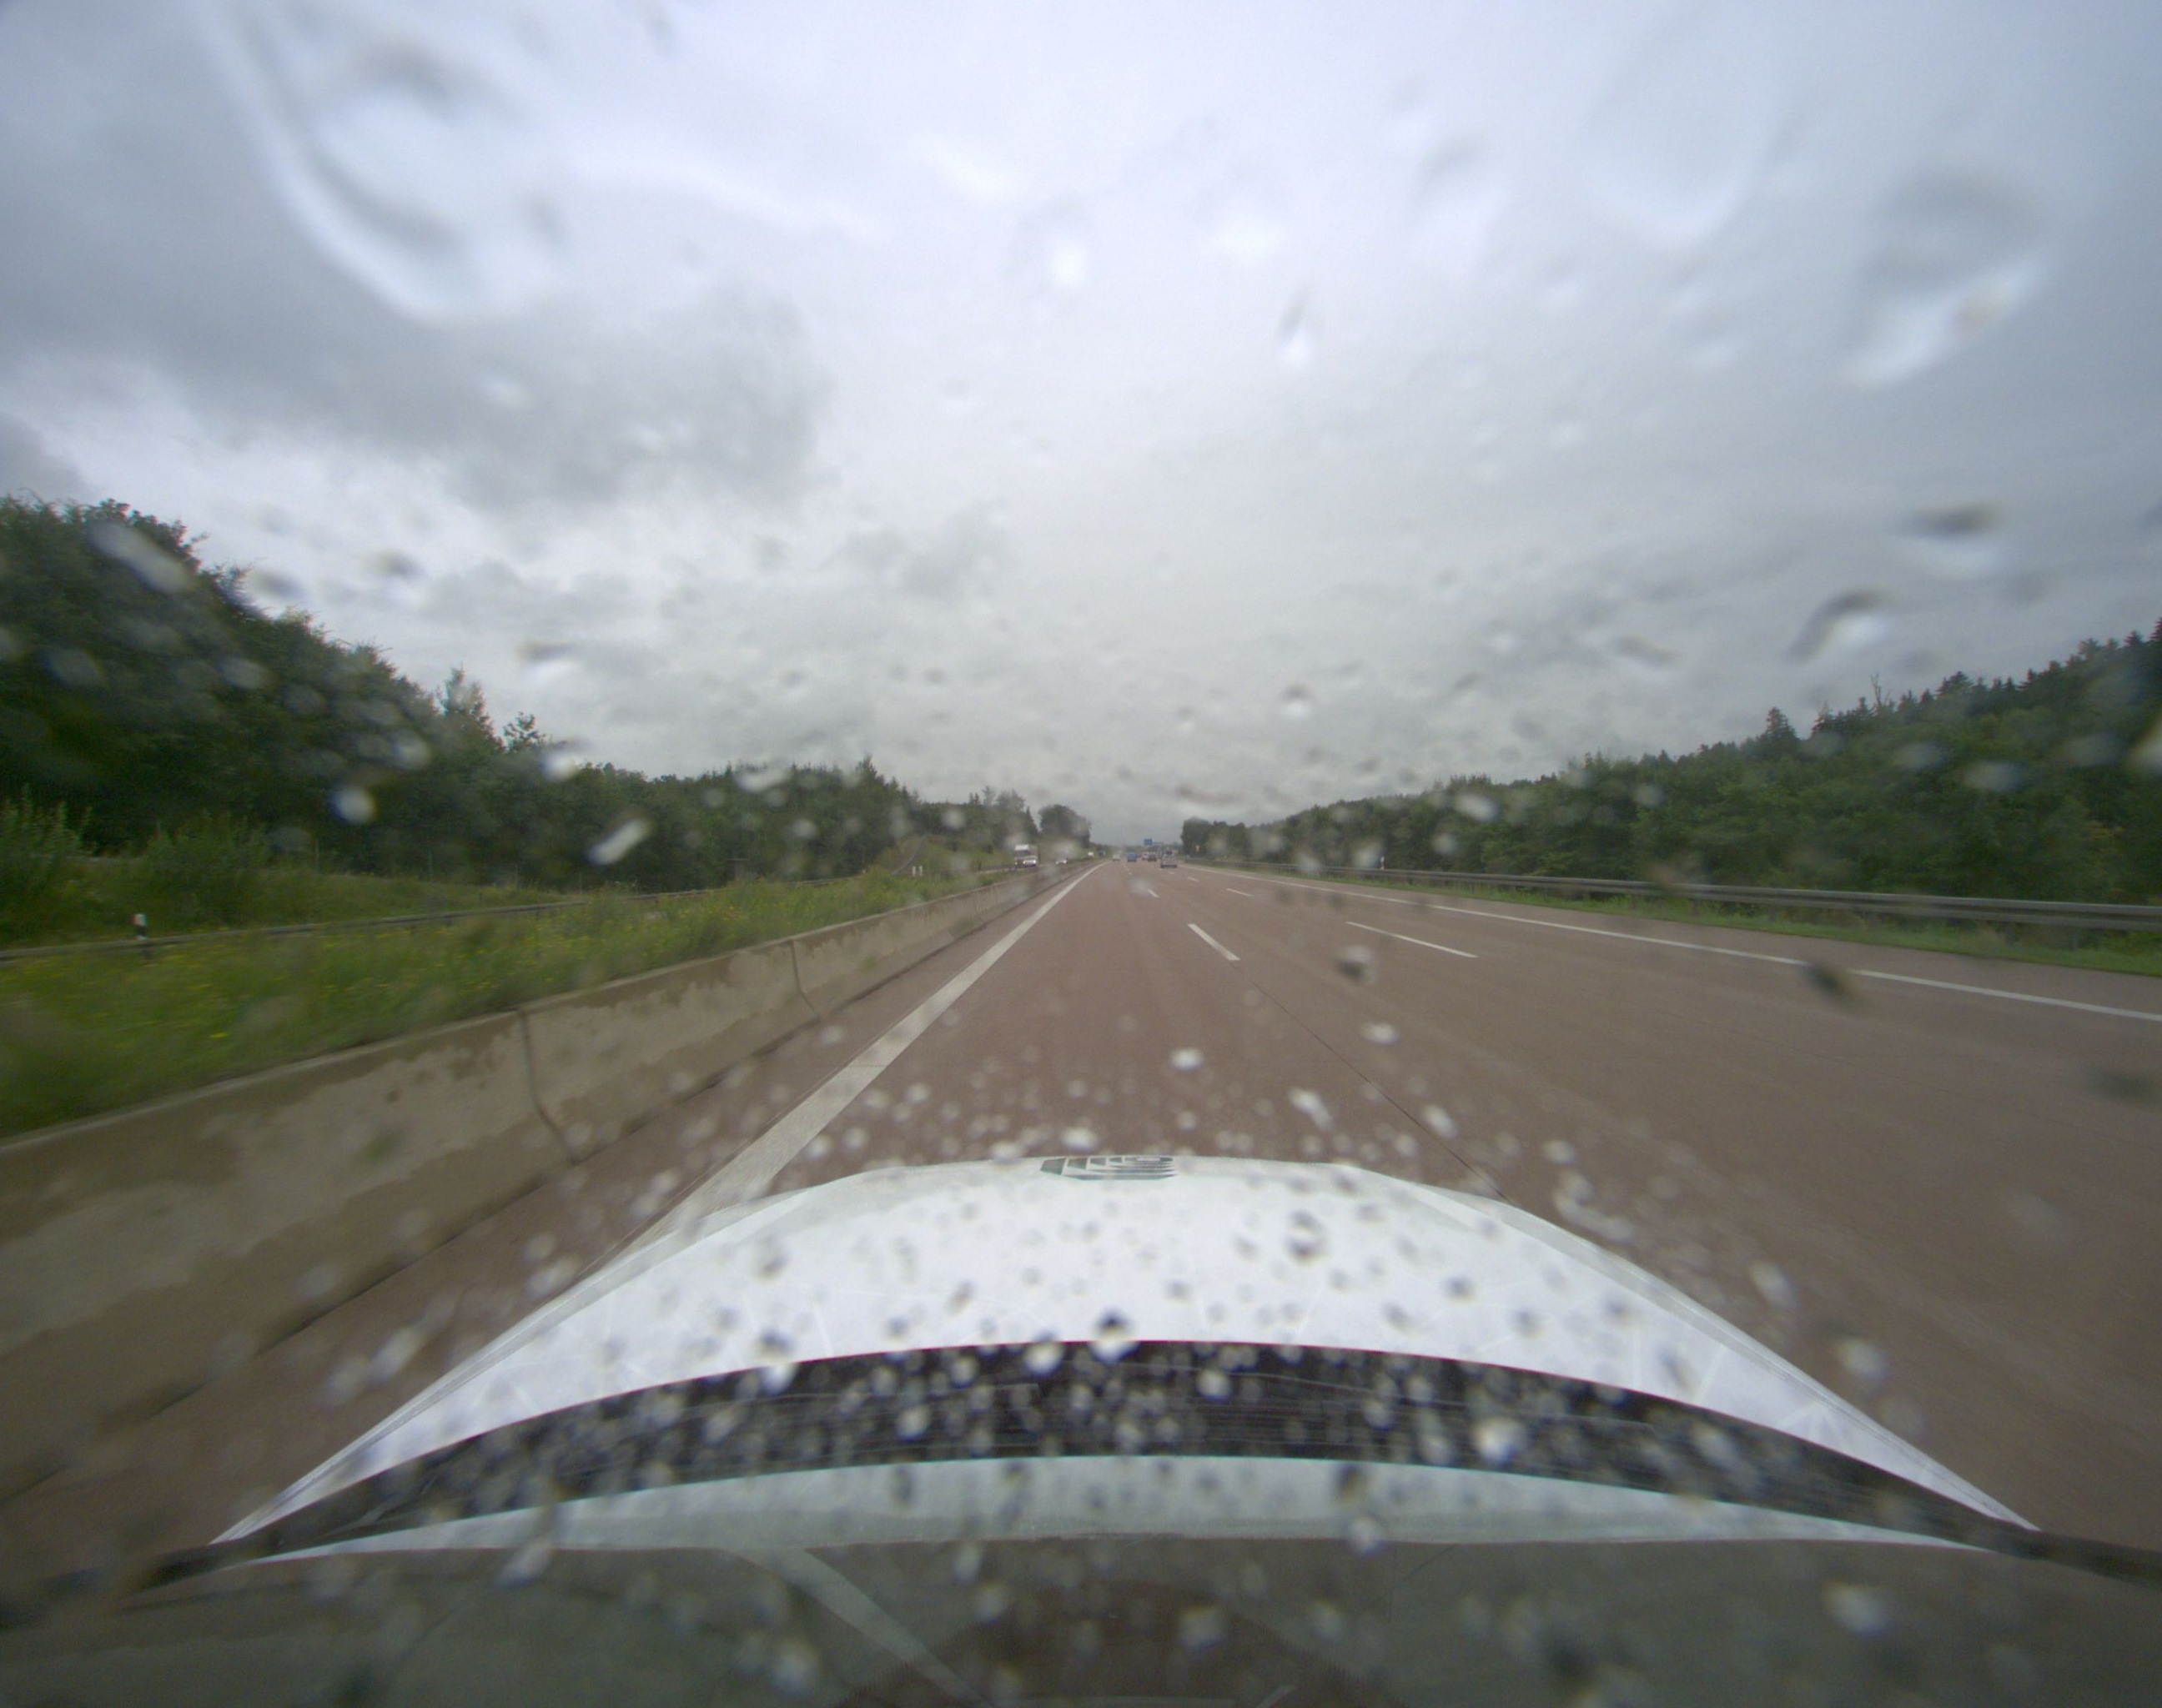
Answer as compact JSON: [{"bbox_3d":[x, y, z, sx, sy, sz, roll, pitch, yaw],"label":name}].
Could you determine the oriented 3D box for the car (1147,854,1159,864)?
[{"bbox_3d":[15.308,1.111,173.226,1.988,2.014,3.996,0,-1,-2],"label":"car"}]

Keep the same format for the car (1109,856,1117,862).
[{"bbox_3d":[7.910,1.250,199.259,1.867,1.444,4.878,0,-1,1],"label":"car"}]

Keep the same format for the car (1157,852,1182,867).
[{"bbox_3d":[10.373,0.682,95.691,2.316,1.750,4.873,0,-1,-2],"label":"car"}]

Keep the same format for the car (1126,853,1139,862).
[{"bbox_3d":[10.861,0.710,171.787,2.316,1.750,4.872,0,-1,-2],"label":"car"}]
